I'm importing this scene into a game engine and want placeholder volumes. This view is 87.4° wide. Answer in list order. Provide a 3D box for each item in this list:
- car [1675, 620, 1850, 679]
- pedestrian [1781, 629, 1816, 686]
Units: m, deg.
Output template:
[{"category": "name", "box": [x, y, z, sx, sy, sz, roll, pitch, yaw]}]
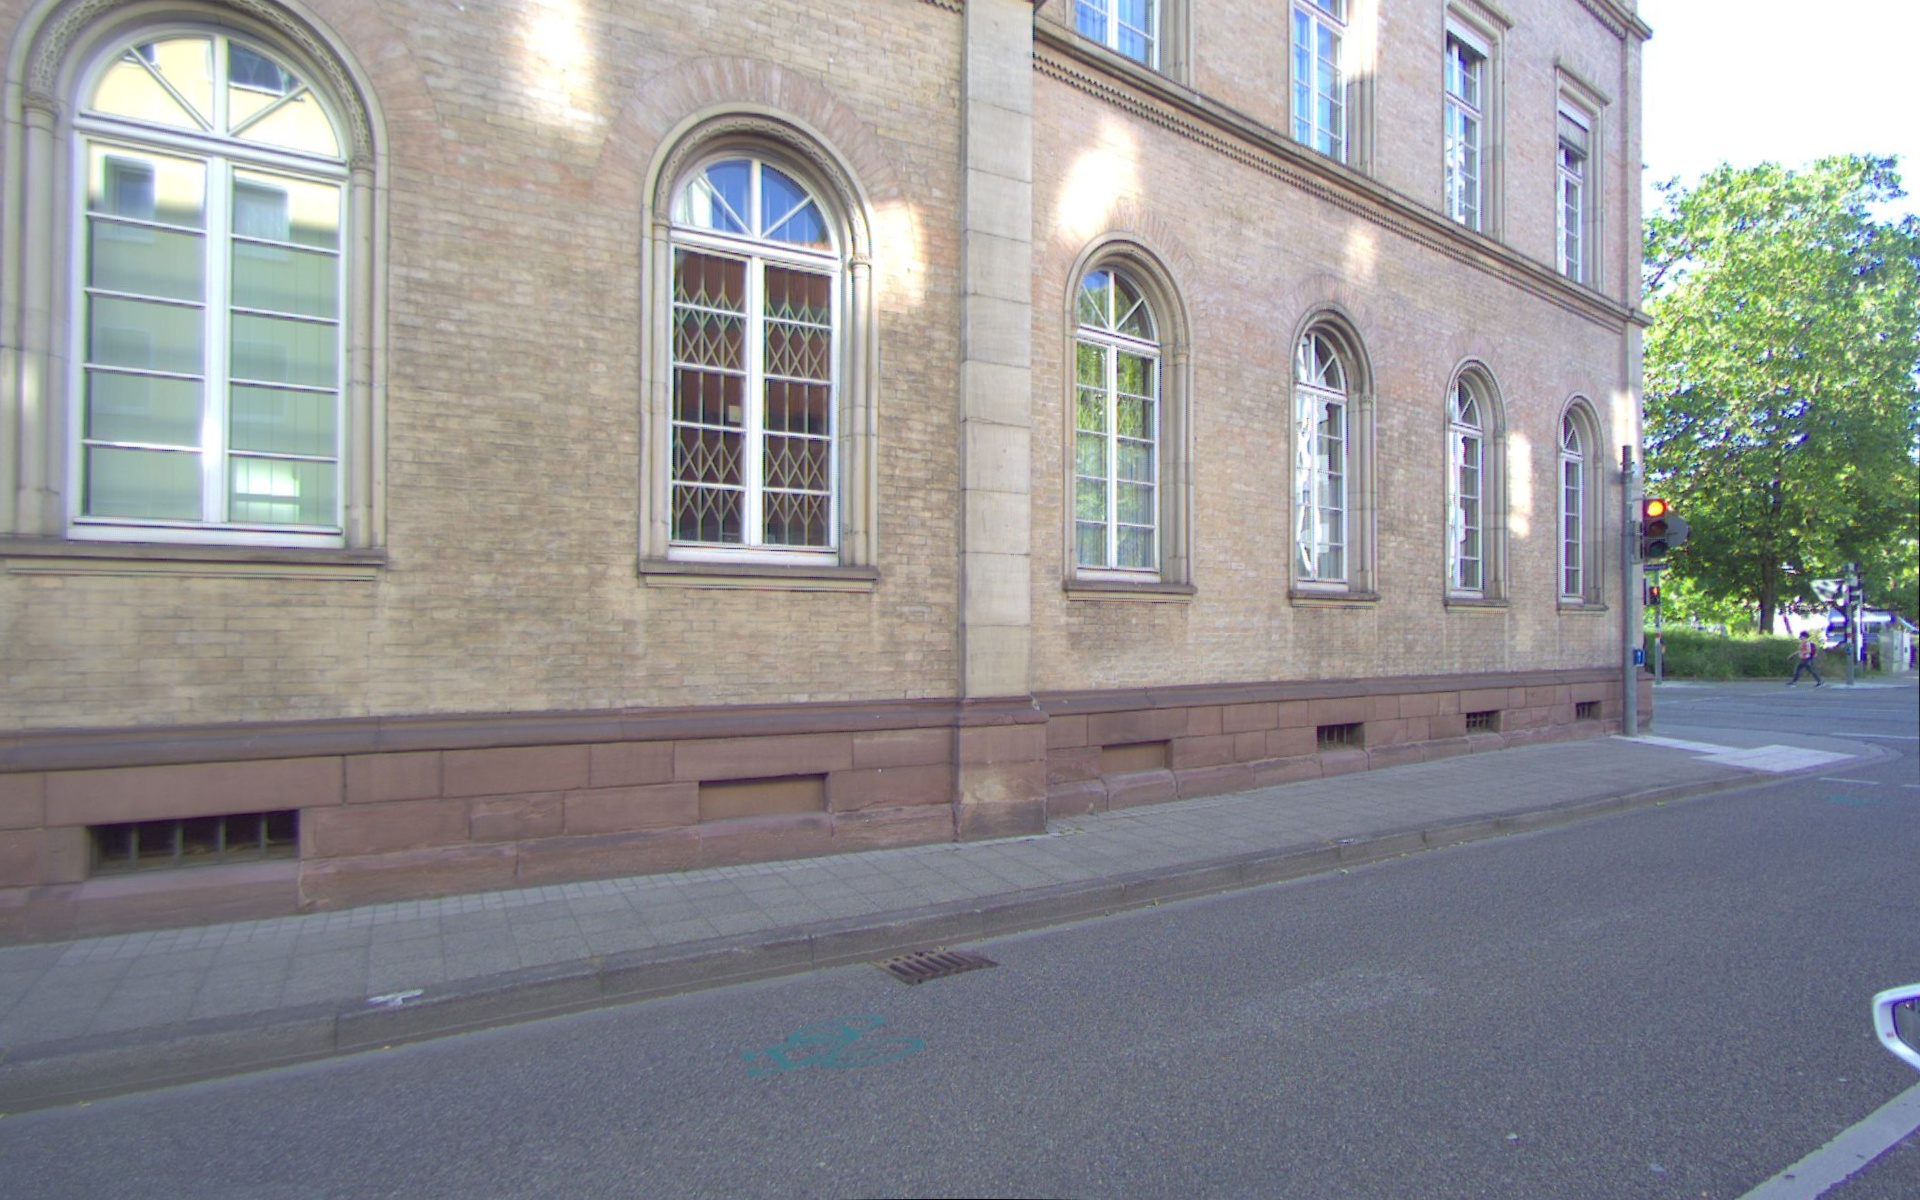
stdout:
[{"category": "car", "box": [26.351, 1.565, 33.110, 1.888, 1.801, 4.193, 1, -2, -37]}, {"category": "pedestrian", "box": [24.218, 1.637, 29.008, 0.702, 1.620, 0.615, -1, -1, 35]}]
